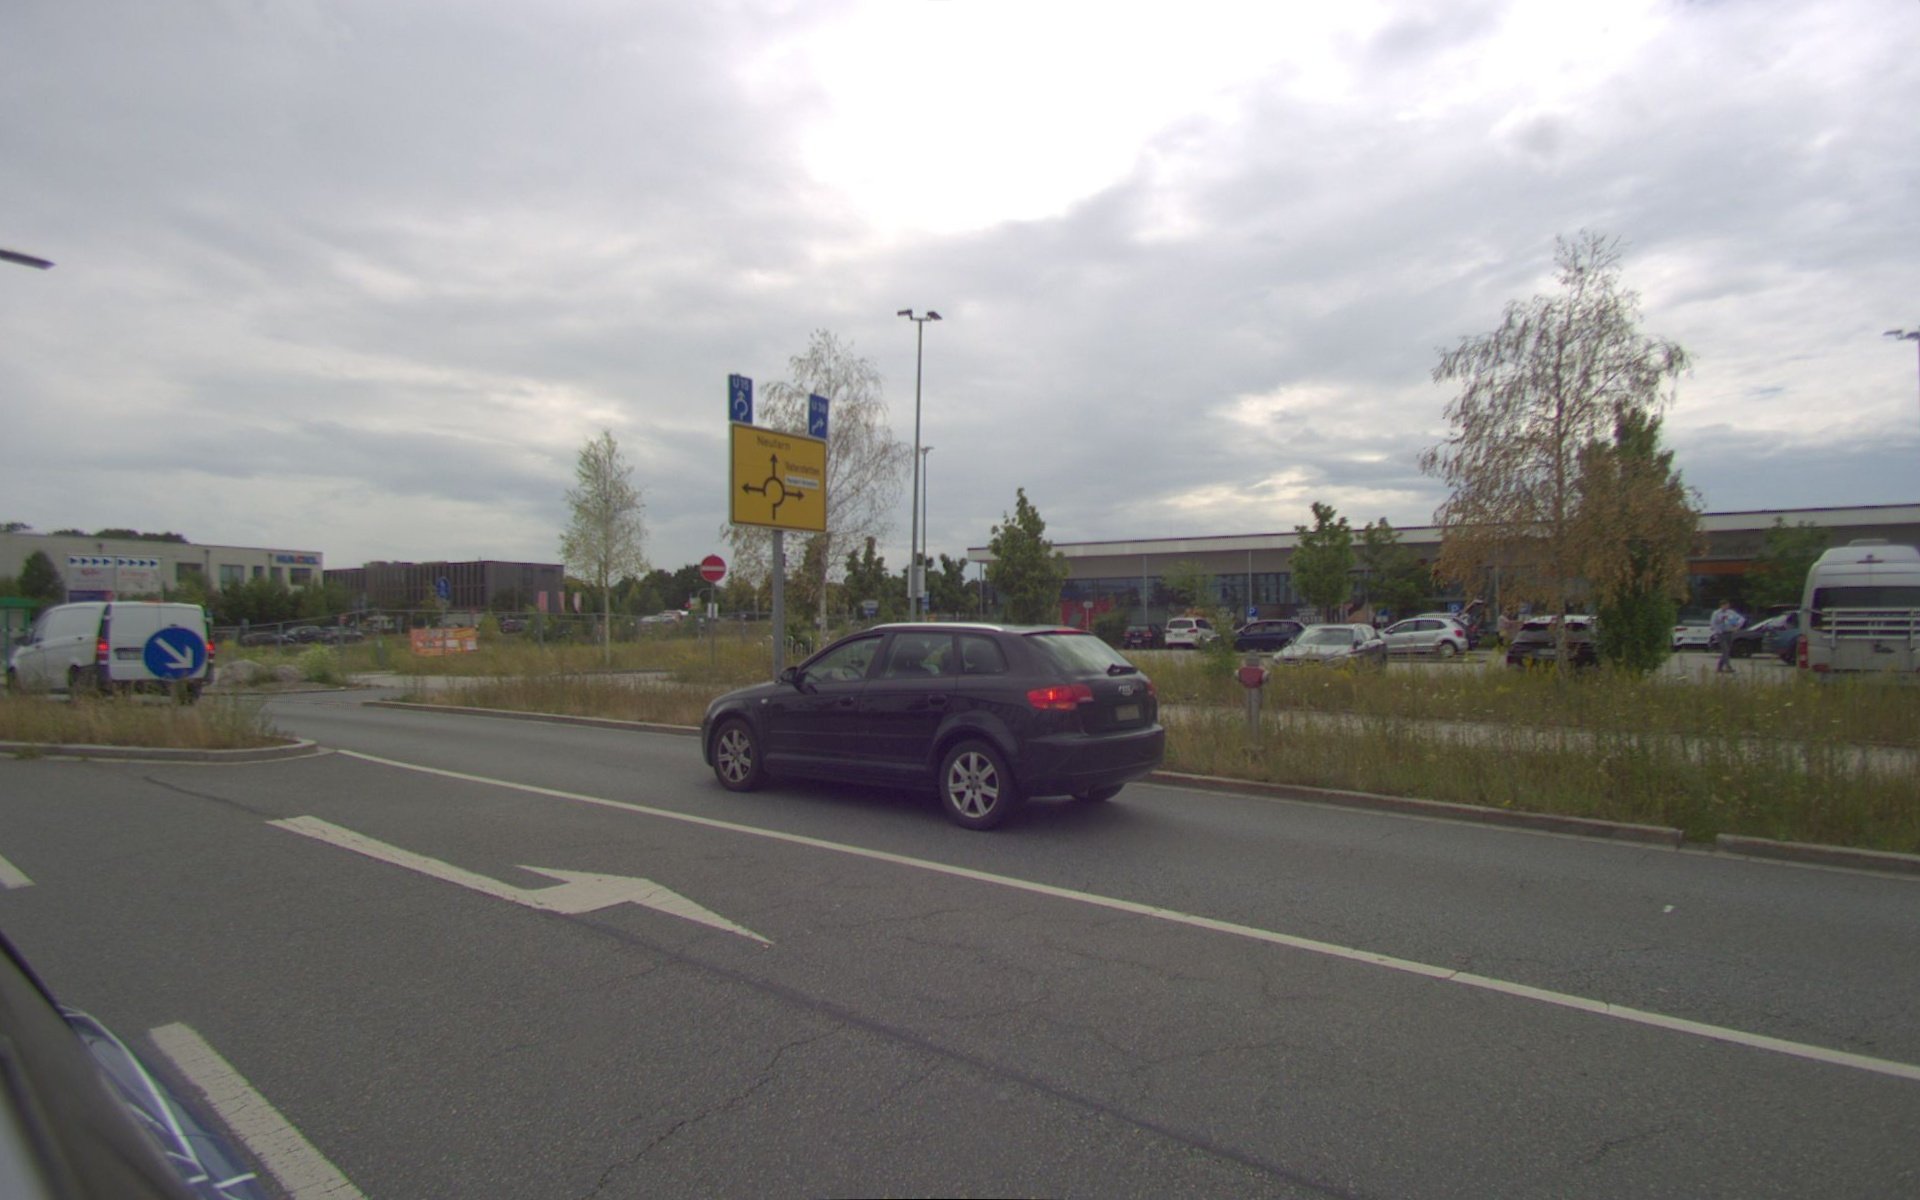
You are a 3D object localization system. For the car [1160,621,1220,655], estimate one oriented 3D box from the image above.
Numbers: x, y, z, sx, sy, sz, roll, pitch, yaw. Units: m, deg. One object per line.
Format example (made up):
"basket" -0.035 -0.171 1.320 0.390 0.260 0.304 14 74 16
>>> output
"car" 12.441 2.026 54.645 1.947 1.741 3.956 -1 -2 32

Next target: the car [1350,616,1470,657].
"car" 16.678 1.336 37.518 3.887 1.453 1.871 -1 -2 30

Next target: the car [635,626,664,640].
"car" -41.441 4.403 135.334 1.980 1.730 3.983 -1 0 14

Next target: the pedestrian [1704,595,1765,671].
"pedestrian" 19.872 0.838 26.003 1.110 1.904 0.999 -1 -2 33

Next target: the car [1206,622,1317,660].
"car" 11.949 1.599 40.119 4.041 1.453 1.834 -1 -1 25

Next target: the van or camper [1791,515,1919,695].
"van or camper" 16.580 0.120 18.347 2.242 2.821 5.792 -1 -1 40

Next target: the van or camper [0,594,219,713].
"van or camper" -16.452 0.978 19.350 5.111 2.023 1.931 -1 -2 32

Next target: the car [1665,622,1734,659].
"car" 31.604 1.716 43.371 1.993 1.486 3.958 -1 -2 31

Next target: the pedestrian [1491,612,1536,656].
"pedestrian" 20.793 1.268 38.037 1.244 1.619 0.887 -1 -1 11

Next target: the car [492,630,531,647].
"car" -49.586 4.259 112.033 1.980 1.730 3.983 -1 0 14

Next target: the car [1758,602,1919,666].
"car" 25.987 0.962 29.139 4.369 1.765 1.892 -1 -2 28

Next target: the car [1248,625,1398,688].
"car" 9.139 1.340 25.241 2.140 1.377 4.521 -2 -2 39

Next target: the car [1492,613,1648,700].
"car" 12.873 1.110 21.261 2.085 1.646 3.901 -2 -2 42

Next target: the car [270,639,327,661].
"car" -58.379 4.404 89.347 1.980 1.730 3.983 -1 0 14

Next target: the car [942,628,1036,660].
"car" 1.397 2.115 48.697 4.177 1.463 1.814 -1 -2 29

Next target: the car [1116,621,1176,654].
"car" 10.353 2.066 56.162 1.994 1.741 3.956 -1 -2 32

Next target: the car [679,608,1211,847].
"car" -0.295 0.830 8.208 4.231 1.456 1.700 -1 -2 39
